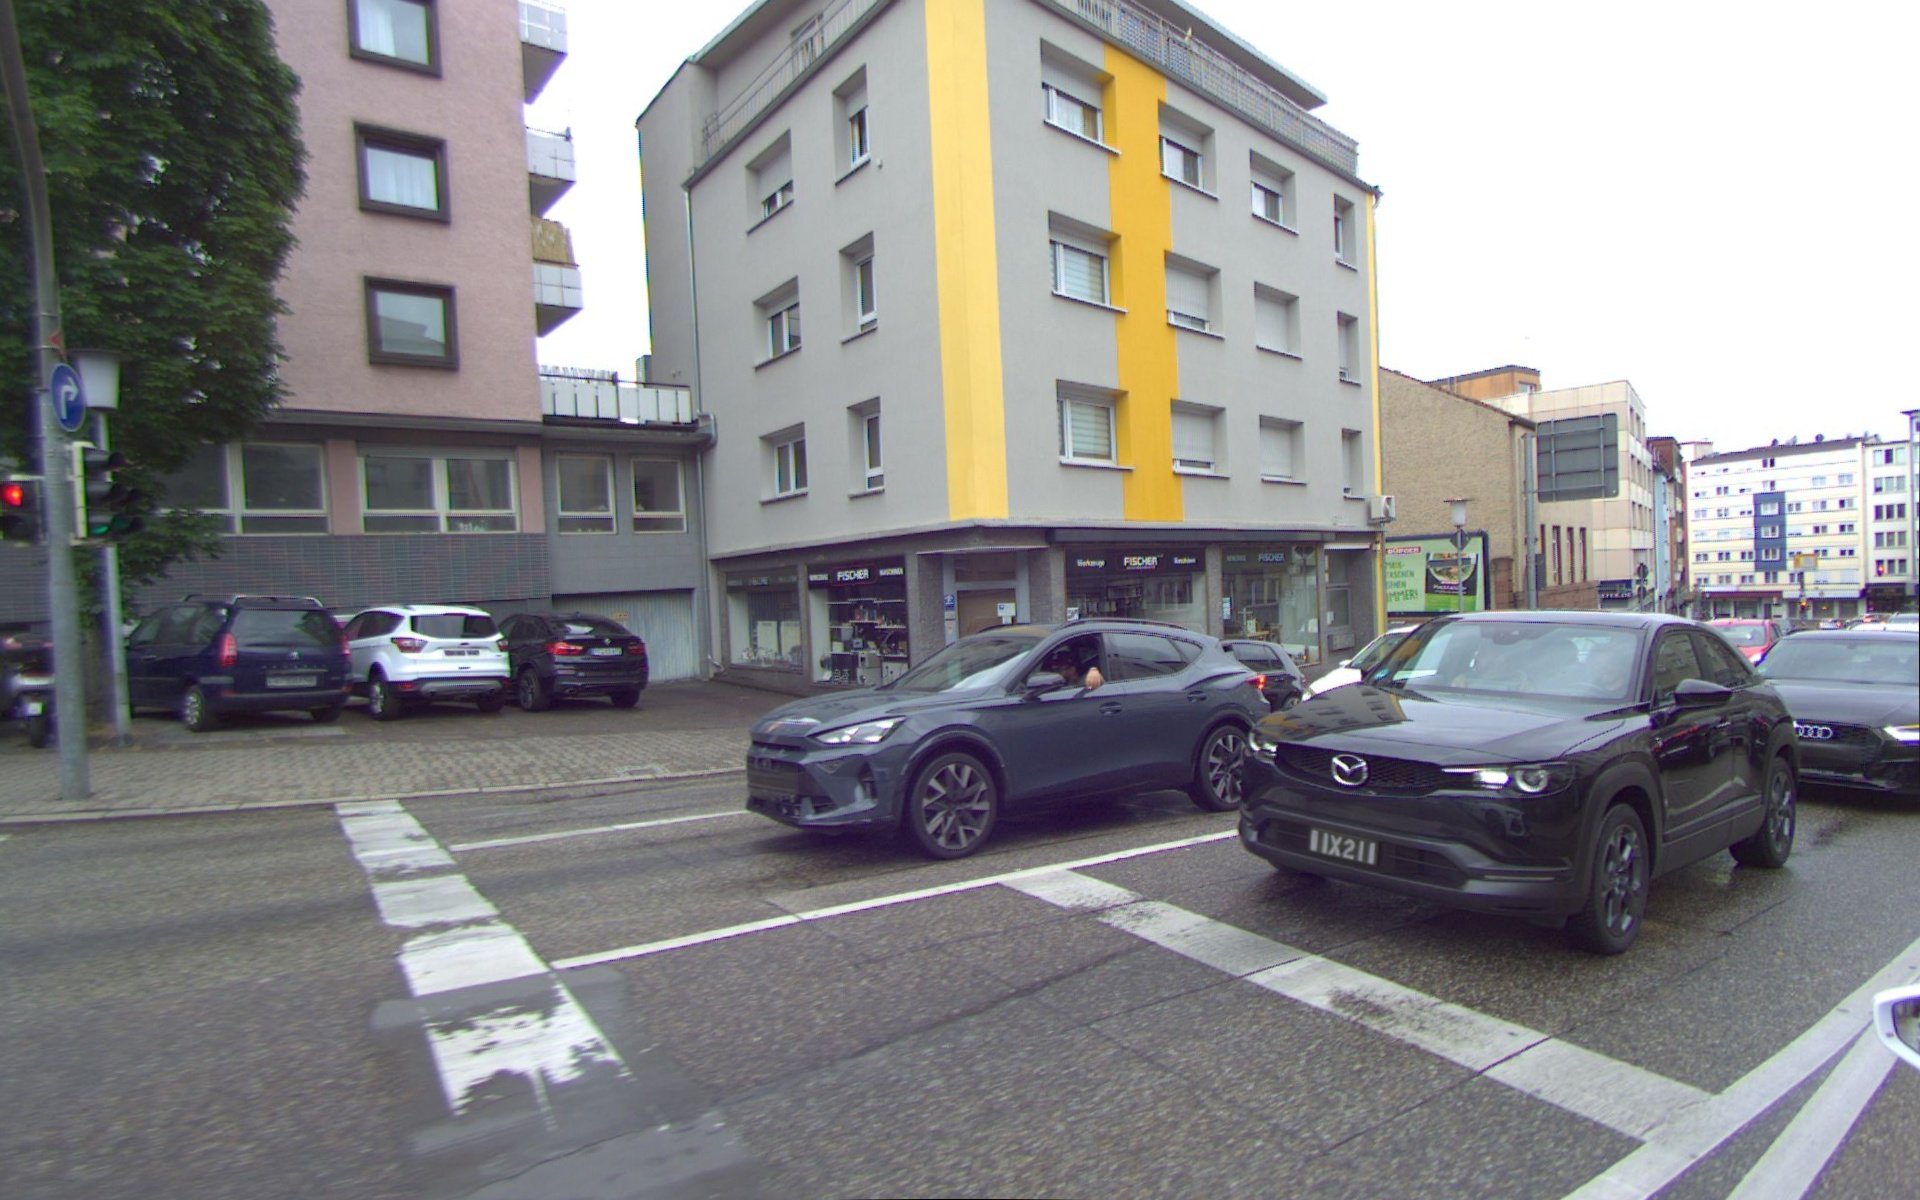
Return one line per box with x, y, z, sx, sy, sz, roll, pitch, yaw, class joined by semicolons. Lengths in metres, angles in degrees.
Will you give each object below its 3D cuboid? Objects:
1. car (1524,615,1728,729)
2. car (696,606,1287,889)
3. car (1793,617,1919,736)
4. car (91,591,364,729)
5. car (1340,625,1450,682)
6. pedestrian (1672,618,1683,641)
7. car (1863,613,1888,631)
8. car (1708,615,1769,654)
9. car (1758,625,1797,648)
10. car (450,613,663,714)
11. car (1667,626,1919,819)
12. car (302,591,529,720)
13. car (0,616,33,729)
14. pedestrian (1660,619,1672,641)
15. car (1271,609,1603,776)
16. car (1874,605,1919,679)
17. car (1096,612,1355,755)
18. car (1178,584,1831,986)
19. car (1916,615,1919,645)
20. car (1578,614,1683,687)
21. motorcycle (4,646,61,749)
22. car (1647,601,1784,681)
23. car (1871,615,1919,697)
11.197;1.142;16.776;4.311;1.652;1.791;2;-4;-42;car
0.416;0.845;7.651;4.338;1.497;1.806;-1;0;-37;car
13.824;1.045;14.835;4.529;1.541;1.790;2;-2;-43;car
-10.743;0.797;14.659;4.272;1.751;1.769;0;-2;33;car
12.699;1.490;29.167;1.671;1.474;4.641;0;-1;41;car
54.033;2.250;75.691;0.663;1.675;0.603;-1;3;36;pedestrian
79.745;1.900;87.532;1.505;1.569;3.091;0;0;41;car
34.910;1.538;45.002;1.639;1.631;3.903;-4;-4;45;car
58.966;2.609;72.440;4.263;1.500;1.681;2;0;-45;car
-7.074;1.027;17.442;3.942;1.516;1.851;0;-2;42;car
8.379;0.967;9.381;4.341;1.433;1.792;1;-2;-39;car
-8.822;0.857;16.167;3.940;1.817;1.853;-1;-3;40;car
-13.363;0.940;12.886;1.722;1.378;3.958;0;0;-37;car
53.478;2.266;76.117;0.730;1.675;0.603;-1;3;36;pedestrian
5.777;0.937;11.953;4.338;1.563;1.793;-1;0;-37;car
24.291;1.050;25.213;1.788;1.727;4.533;2;0;44;car
3.762;1.029;13.924;3.749;1.617;1.719;-1;0;-42;car
3.421;0.796;5.955;4.339;1.557;1.806;2;-2;-37;car
51.716;1.591;52.966;1.503;1.569;3.095;0;0;37;car
18.594;1.385;27.780;1.709;1.853;4.036;-4;-4;43;car
-10.888;1.109;11.799;0.450;1.046;1.772;-1;1;-43;motorcycle
16.022;0.866;21.223;1.723;1.535;4.104;-4;-4;45;car
19.384;1.094;19.850;4.260;1.500;1.682;2;0;-43;car
